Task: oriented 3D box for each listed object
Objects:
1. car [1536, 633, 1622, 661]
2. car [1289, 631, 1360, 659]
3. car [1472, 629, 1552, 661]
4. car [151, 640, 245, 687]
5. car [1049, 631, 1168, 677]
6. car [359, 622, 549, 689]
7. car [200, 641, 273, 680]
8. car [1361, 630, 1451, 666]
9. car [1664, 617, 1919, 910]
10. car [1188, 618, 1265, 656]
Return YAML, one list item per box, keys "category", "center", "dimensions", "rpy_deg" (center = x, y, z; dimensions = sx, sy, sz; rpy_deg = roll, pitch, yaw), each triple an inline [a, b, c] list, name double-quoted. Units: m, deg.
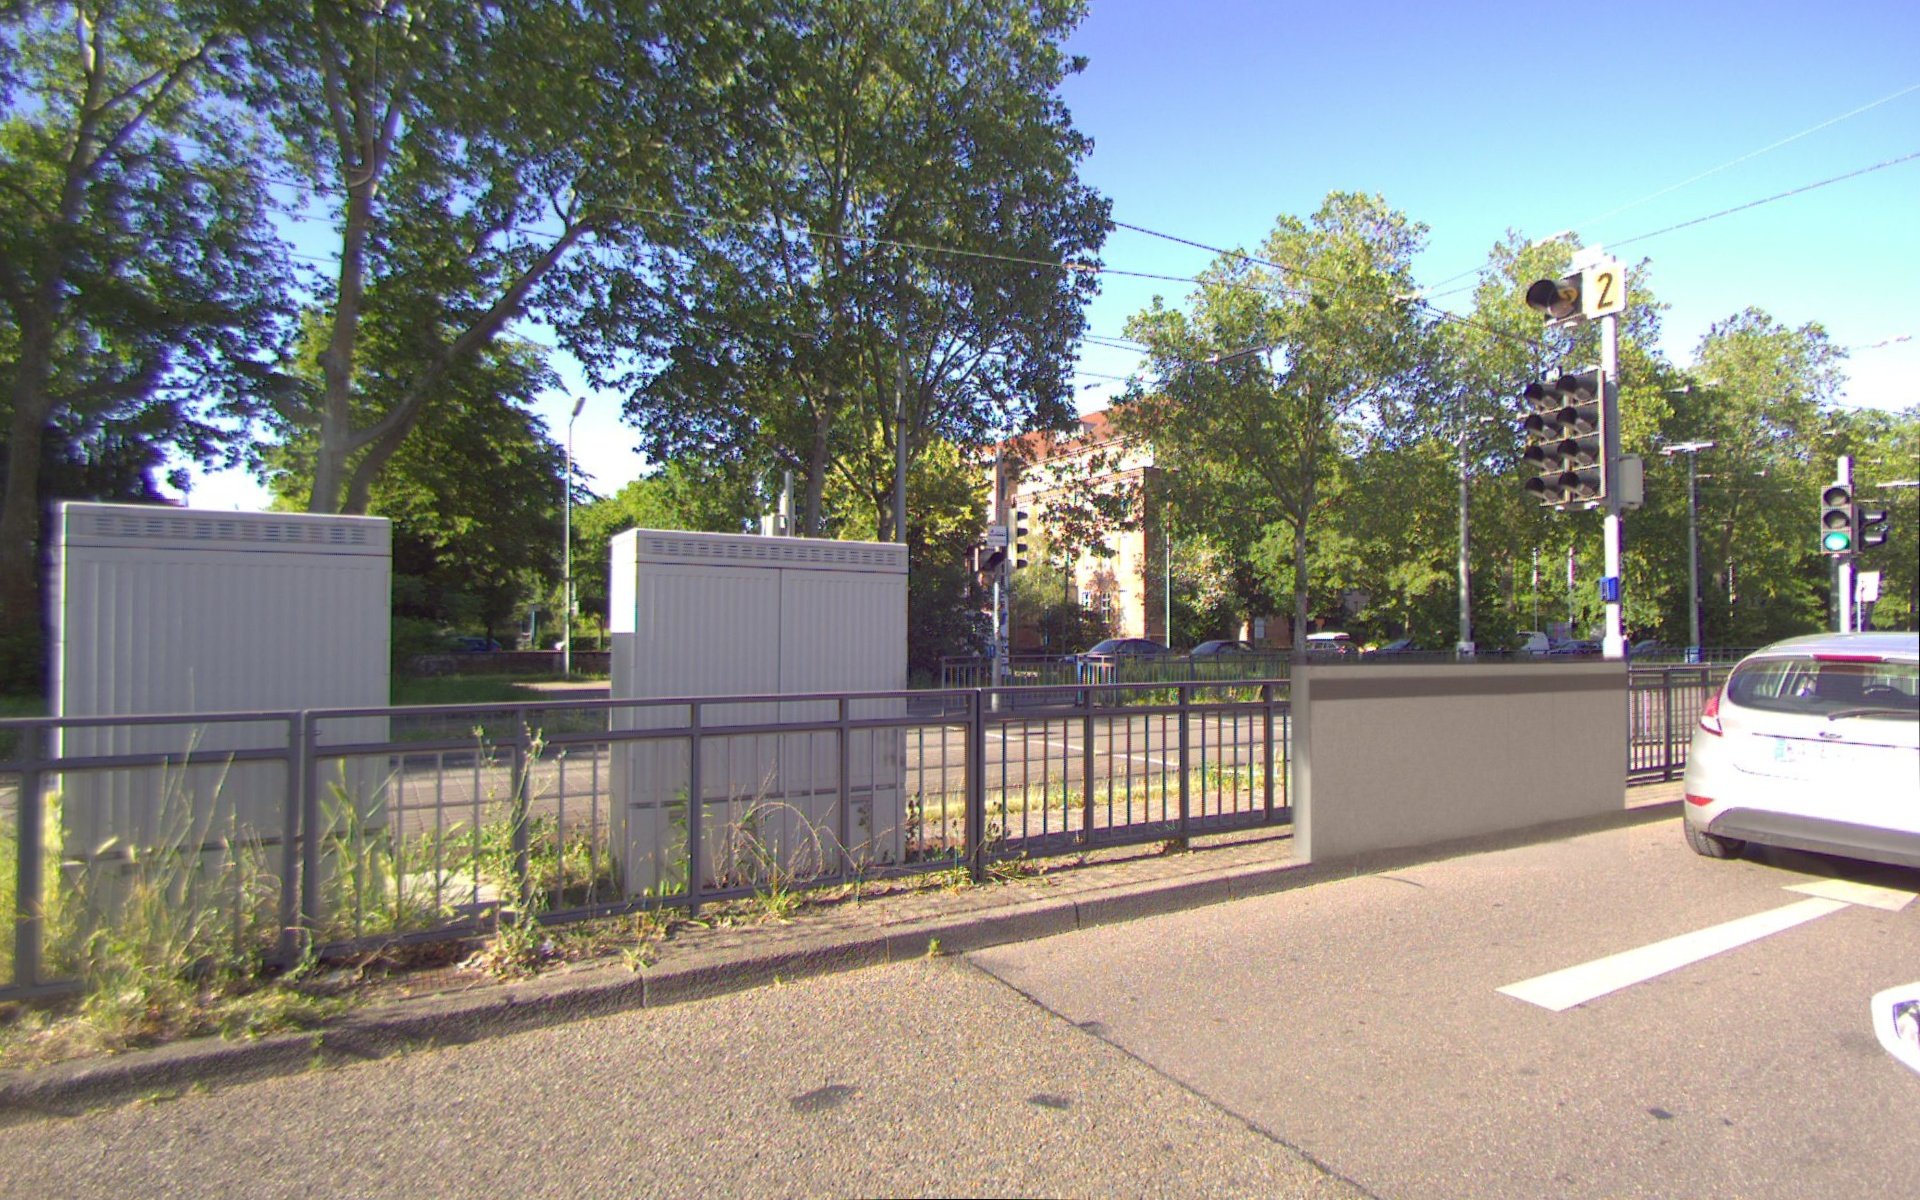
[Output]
- category: "car"
  center: [32.400, 2.460, 52.537]
  dimensions: [4.795, 1.366, 1.926]
  rpy_deg: [2, -2, -32]
- category: "car"
  center: [20.801, 2.526, 57.470]
  dimensions: [1.375, 1.514, 3.974]
  rpy_deg: [1, -2, -26]
- category: "car"
  center: [27.219, 2.186, 49.519]
  dimensions: [4.098, 1.529, 1.660]
  rpy_deg: [1, -1, -32]
- category: "car"
  center: [-25.983, 2.108, 34.379]
  dimensions: [1.976, 1.437, 3.969]
  rpy_deg: [1, -1, -29]
- category: "car"
  center: [5.286, 1.864, 35.688]
  dimensions: [4.098, 1.529, 1.660]
  rpy_deg: [1, -2, -32]
- category: "car"
  center: [-12.530, 1.340, 24.939]
  dimensions: [4.099, 1.529, 1.660]
  rpy_deg: [1, -2, -32]
- category: "car"
  center: [-29.801, 2.472, 41.499]
  dimensions: [1.976, 1.437, 3.969]
  rpy_deg: [1, -1, -29]
- category: "car"
  center: [19.874, 2.106, 44.685]
  dimensions: [4.098, 1.529, 1.660]
  rpy_deg: [1, -1, -32]
- category: "car"
  center: [6.265, 0.870, 6.489]
  dimensions: [3.850, 1.487, 1.599]
  rpy_deg: [1, -1, -35]
- category: "car"
  center: [15.064, 2.073, 56.747]
  dimensions: [3.953, 2.040, 1.984]
  rpy_deg: [1, -2, -30]
